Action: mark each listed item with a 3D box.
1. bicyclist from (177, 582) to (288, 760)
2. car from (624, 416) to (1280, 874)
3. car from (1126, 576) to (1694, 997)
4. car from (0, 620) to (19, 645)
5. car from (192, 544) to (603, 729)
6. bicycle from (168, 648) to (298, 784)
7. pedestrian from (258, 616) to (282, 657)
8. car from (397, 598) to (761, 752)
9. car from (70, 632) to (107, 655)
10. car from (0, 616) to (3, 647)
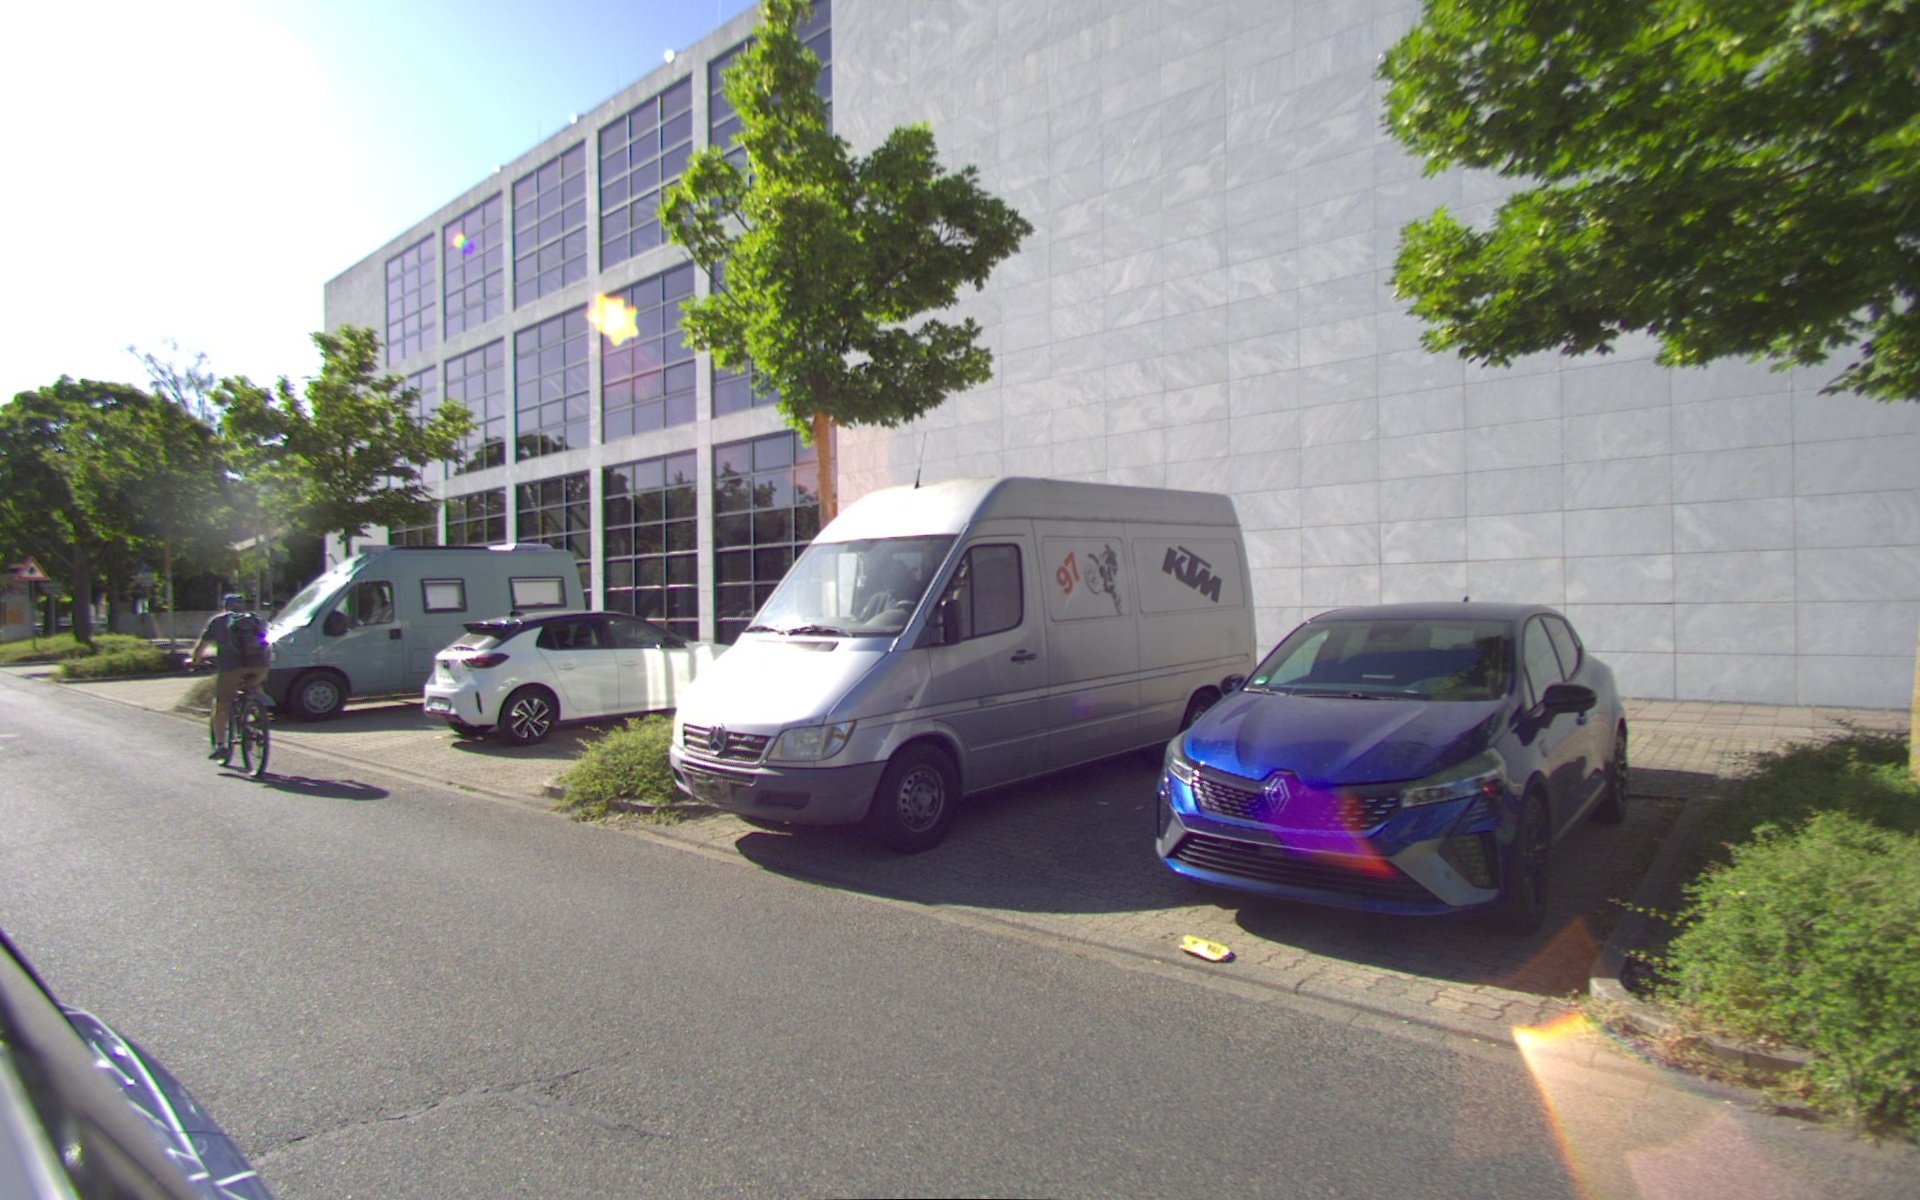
[{"bbox_3d":[-6.955,0.647,9.667,0.675,1.593,1.062,2,-2,-45],"label":"bicyclist"},{"bbox_3d":[0.377,0.177,8.081,1.987,2.428,5.492,-2,1,42],"label":"car"},{"bbox_3d":[2.768,0.645,5.690,1.785,1.496,3.891,-1,1,42],"label":"car"},{"bbox_3d":[-57.622,1.972,58.452,1.828,1.416,4.624,-2,1,42],"label":"car"},{"bbox_3d":[-8.608,0.398,15.946,2.122,2.436,5.194,-1,1,41],"label":"car"},{"bbox_3d":[-6.995,1.042,9.692,0.690,1.119,2.080,2,-2,-44],"label":"bicycle"},{"bbox_3d":[-29.489,1.556,43.247,0.825,1.697,0.809,1,-2,-36],"label":"pedestrian"},{"bbox_3d":[-4.594,0.794,12.580,1.848,1.483,3.789,-1,1,42],"label":"car"},{"bbox_3d":[-67.115,3.329,77.949,4.146,1.626,1.809,-1,-2,45],"label":"car"},{"bbox_3d":[-63.354,2.038,63.533,1.998,2.006,4.575,-3,-2,39],"label":"car"}]
